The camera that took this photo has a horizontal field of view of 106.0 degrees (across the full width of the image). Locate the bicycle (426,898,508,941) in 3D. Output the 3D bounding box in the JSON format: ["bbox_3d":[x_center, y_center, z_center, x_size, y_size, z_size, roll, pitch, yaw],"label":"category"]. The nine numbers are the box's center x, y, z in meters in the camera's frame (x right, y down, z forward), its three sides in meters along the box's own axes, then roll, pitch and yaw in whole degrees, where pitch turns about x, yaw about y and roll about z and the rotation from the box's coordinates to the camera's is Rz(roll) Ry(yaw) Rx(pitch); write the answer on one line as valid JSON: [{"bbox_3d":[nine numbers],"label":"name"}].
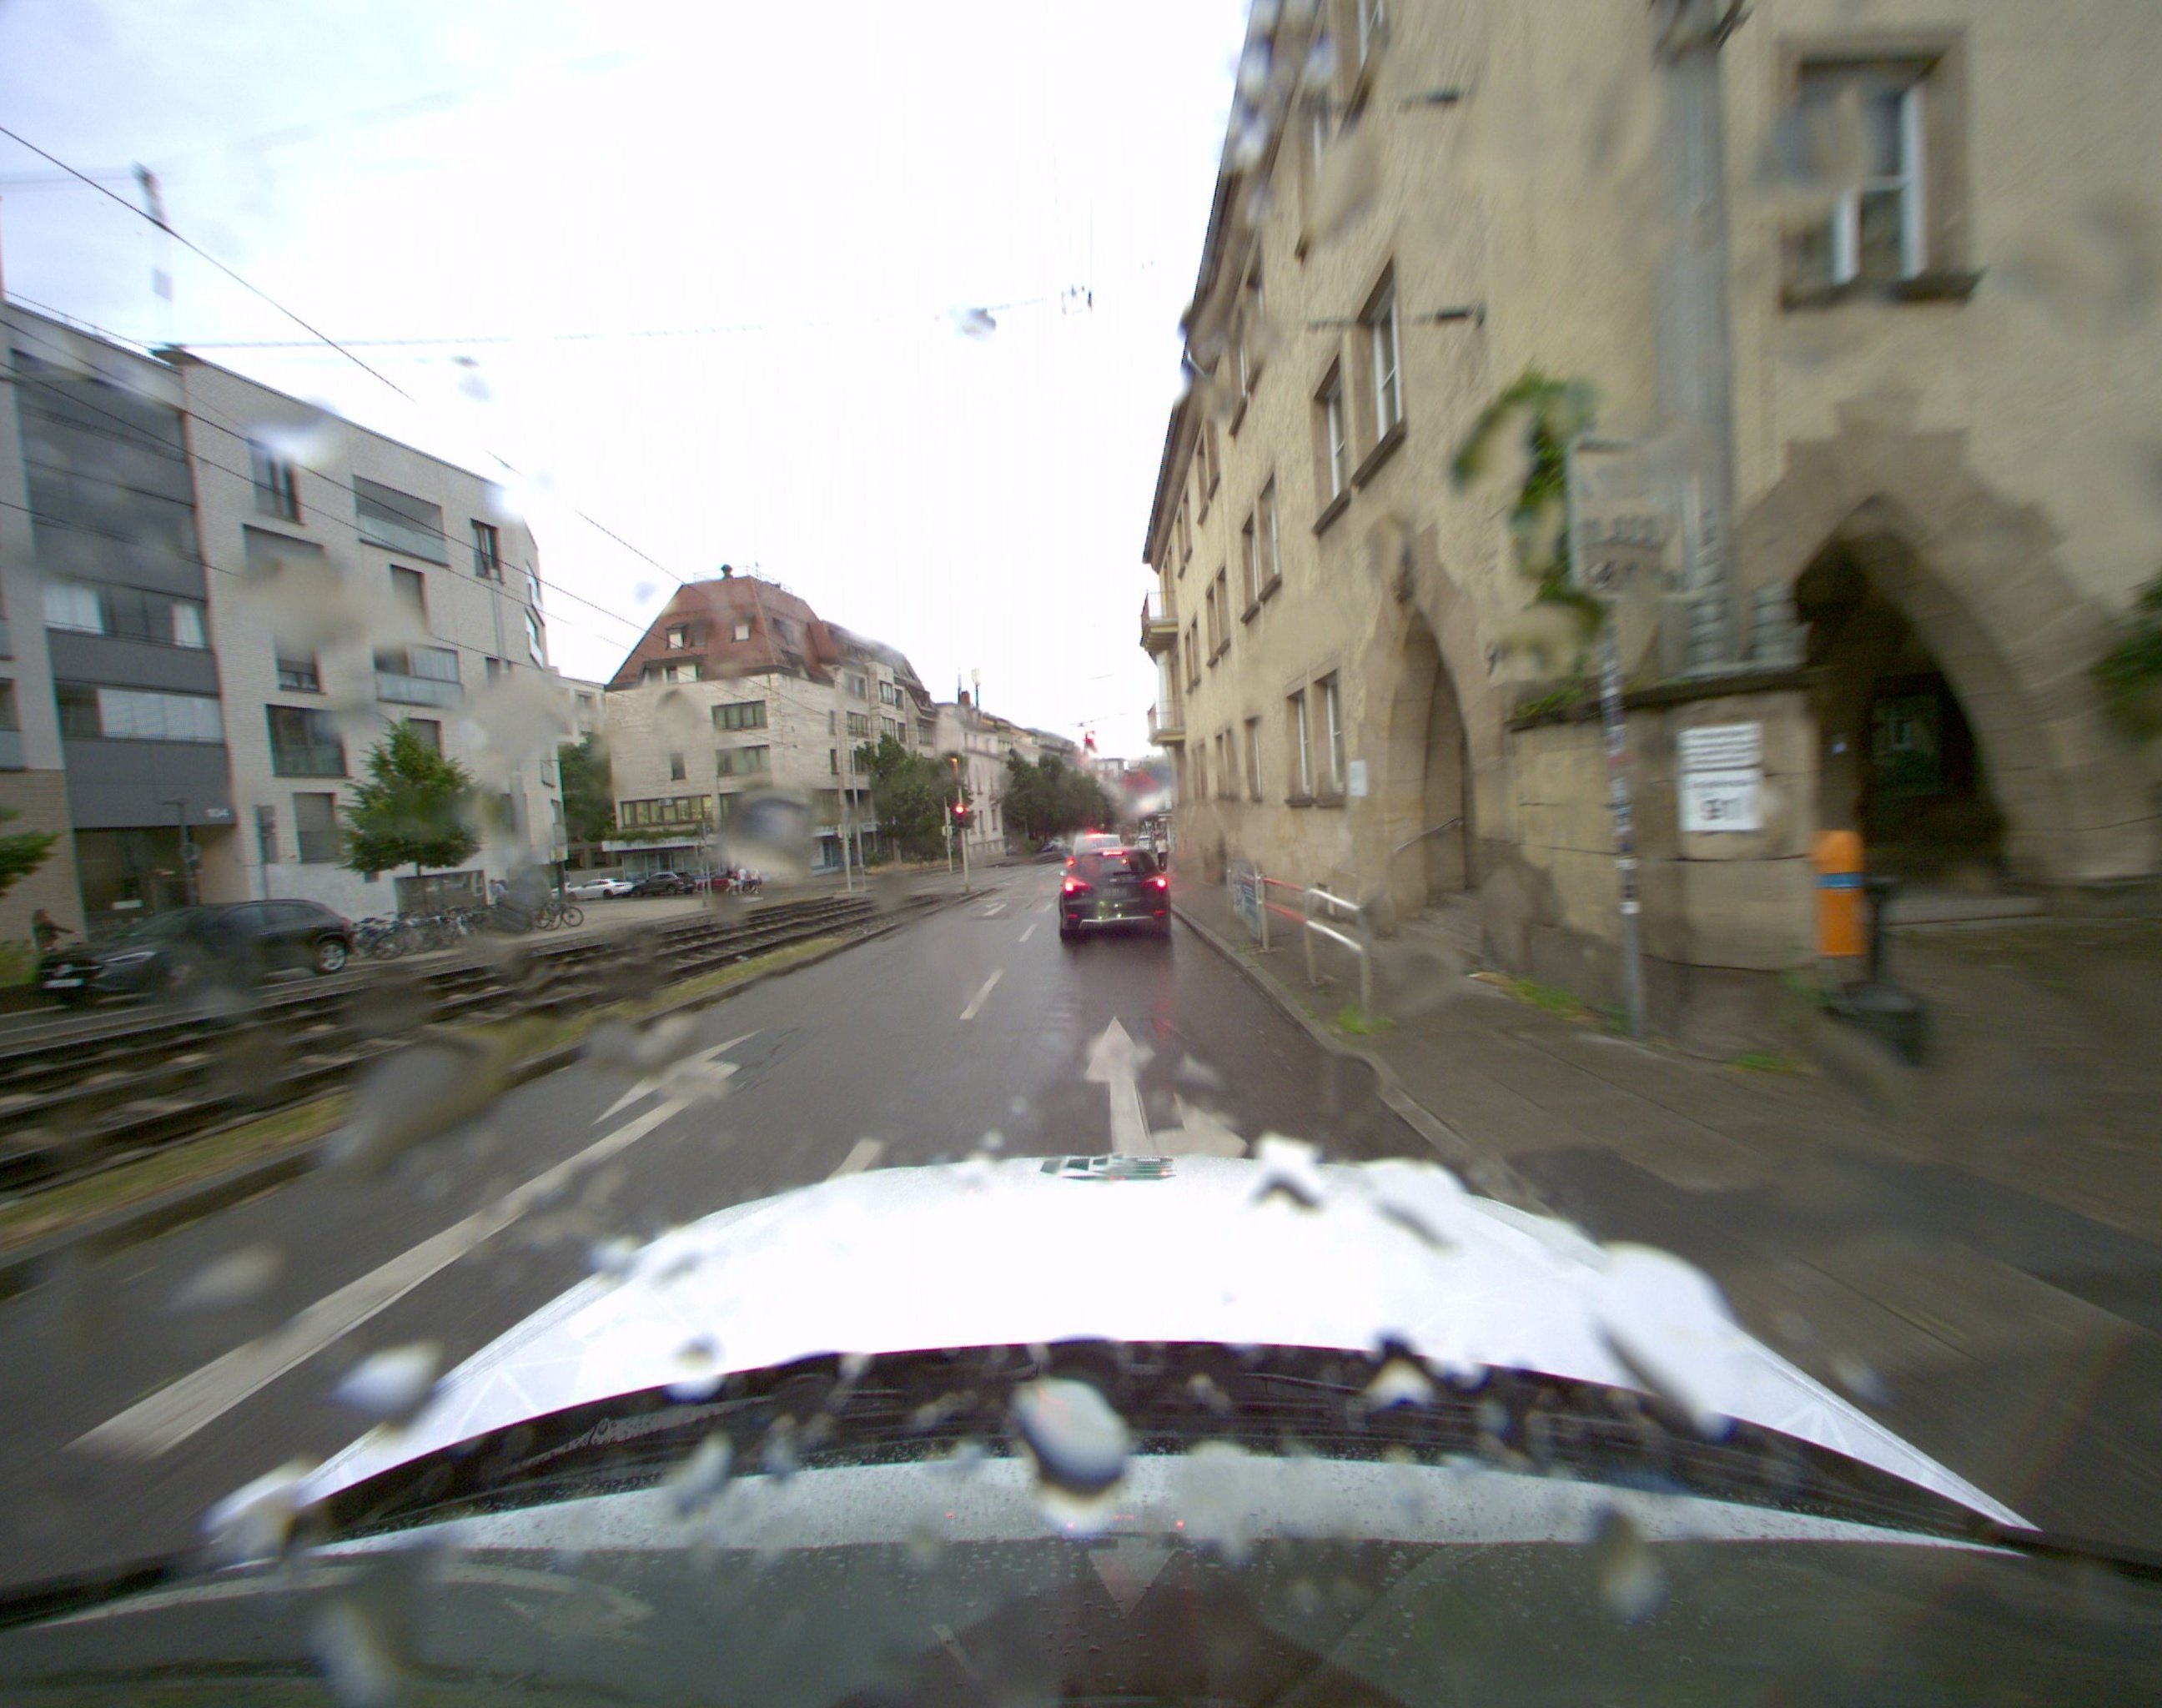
[{"bbox_3d":[-17.642,1.877,23.431,1.799,1.064,0.455,-3,1,-14],"label":"bicycle"}]

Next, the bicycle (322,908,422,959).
[{"bbox_3d":[-16.996,1.901,19.543,1.794,1.064,0.456,-3,1,-7],"label":"bicycle"}]

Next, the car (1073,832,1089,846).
[{"bbox_3d":[-0.007,-2.437,127.908,1.983,2.013,4.007,-4,1,6],"label":"car"}]

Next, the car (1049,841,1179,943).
[{"bbox_3d":[0.578,0.558,14.282,1.913,1.479,4.002,-2,1,2],"label":"car"}]

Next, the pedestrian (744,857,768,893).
[{"bbox_3d":[-19.302,1.229,48.332,0.938,2.013,0.765,-4,1,1],"label":"pedestrian"}]

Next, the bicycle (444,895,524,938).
[{"bbox_3d":[-17.820,1.863,24.343,1.802,1.108,0.453,-4,1,-19],"label":"bicycle"}]

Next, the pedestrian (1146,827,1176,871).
[{"bbox_3d":[3.415,-0.205,34.806,1.042,1.794,0.902,-4,1,-1],"label":"pedestrian"}]

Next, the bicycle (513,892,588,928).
[{"bbox_3d":[-17.854,1.869,27.449,1.948,1.027,0.719,-3,1,-8],"label":"bicycle"}]

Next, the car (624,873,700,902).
[{"bbox_3d":[-28.066,2.263,54.588,4.108,1.568,1.829,-4,1,10],"label":"car"}]

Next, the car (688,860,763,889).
[{"bbox_3d":[-23.363,1.326,53.555,4.108,1.568,1.829,-4,1,10],"label":"car"}]

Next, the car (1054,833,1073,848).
[{"bbox_3d":[-2.474,-1.972,116.584,1.983,2.013,4.007,-4,1,6],"label":"car"}]

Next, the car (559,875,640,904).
[{"bbox_3d":[-32.689,2.401,55.310,4.432,1.568,1.914,-4,1,10],"label":"car"}]

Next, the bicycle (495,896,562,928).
[{"bbox_3d":[-17.857,1.878,26.364,1.649,0.866,0.567,-3,1,-9],"label":"bicycle"}]

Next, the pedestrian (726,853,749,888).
[{"bbox_3d":[-21.079,1.008,49.991,0.939,2.013,0.764,-4,1,-3],"label":"pedestrian"}]

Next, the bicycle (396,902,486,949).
[{"bbox_3d":[-16.882,1.884,21.515,1.799,1.064,0.455,-3,1,-14],"label":"bicycle"}]

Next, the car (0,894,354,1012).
[{"bbox_3d":[-16.388,1.685,15.152,1.907,1.503,4.234,-4,0,-2],"label":"car"}]

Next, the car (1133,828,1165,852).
[{"bbox_3d":[5.545,-1.185,66.156,1.980,1.771,4.014,-4,1,12],"label":"car"}]

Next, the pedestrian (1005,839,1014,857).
[{"bbox_3d":[-8.476,-0.723,96.586,0.941,2.013,0.763,-4,1,-8],"label":"pedestrian"}]

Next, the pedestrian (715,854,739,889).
[{"bbox_3d":[-21.189,1.035,48.768,0.939,2.013,0.764,-4,1,-3],"label":"pedestrian"}]

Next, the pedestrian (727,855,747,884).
[{"bbox_3d":[-24.784,1.107,58.711,0.902,1.931,0.825,-5,1,-2],"label":"pedestrian"}]

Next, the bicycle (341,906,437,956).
[{"bbox_3d":[-17.327,1.927,20.423,1.797,1.064,0.456,-3,1,-10],"label":"bicycle"}]

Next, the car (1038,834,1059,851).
[{"bbox_3d":[-4.134,-1.523,103.978,1.983,2.013,4.007,-4,1,6],"label":"car"}]

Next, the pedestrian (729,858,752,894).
[{"bbox_3d":[-20.266,1.305,48.492,0.939,2.013,0.764,-4,1,-3],"label":"pedestrian"}]

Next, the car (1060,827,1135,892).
[{"bbox_3d":[0.470,0.124,26.533,2.131,1.745,4.217,-5,1,-1],"label":"car"}]

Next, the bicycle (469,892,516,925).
[{"bbox_3d":[-22.254,2.036,30.835,0.454,1.064,1.802,-3,1,-1],"label":"bicycle"}]

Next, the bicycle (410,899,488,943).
[{"bbox_3d":[-17.404,1.848,22.451,1.761,1.071,0.486,-3,1,3],"label":"bicycle"}]

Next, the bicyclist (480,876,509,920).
[{"bbox_3d":[-22.267,1.662,30.925,0.460,1.573,0.701,-4,0,-1],"label":"bicyclist"}]

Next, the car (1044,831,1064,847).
[{"bbox_3d":[-3.589,-2.083,110.262,1.983,2.013,4.007,-4,1,6],"label":"car"}]

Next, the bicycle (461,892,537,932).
[{"bbox_3d":[-18.234,1.808,25.539,1.797,1.064,0.567,-3,1,-11],"label":"bicycle"}]
